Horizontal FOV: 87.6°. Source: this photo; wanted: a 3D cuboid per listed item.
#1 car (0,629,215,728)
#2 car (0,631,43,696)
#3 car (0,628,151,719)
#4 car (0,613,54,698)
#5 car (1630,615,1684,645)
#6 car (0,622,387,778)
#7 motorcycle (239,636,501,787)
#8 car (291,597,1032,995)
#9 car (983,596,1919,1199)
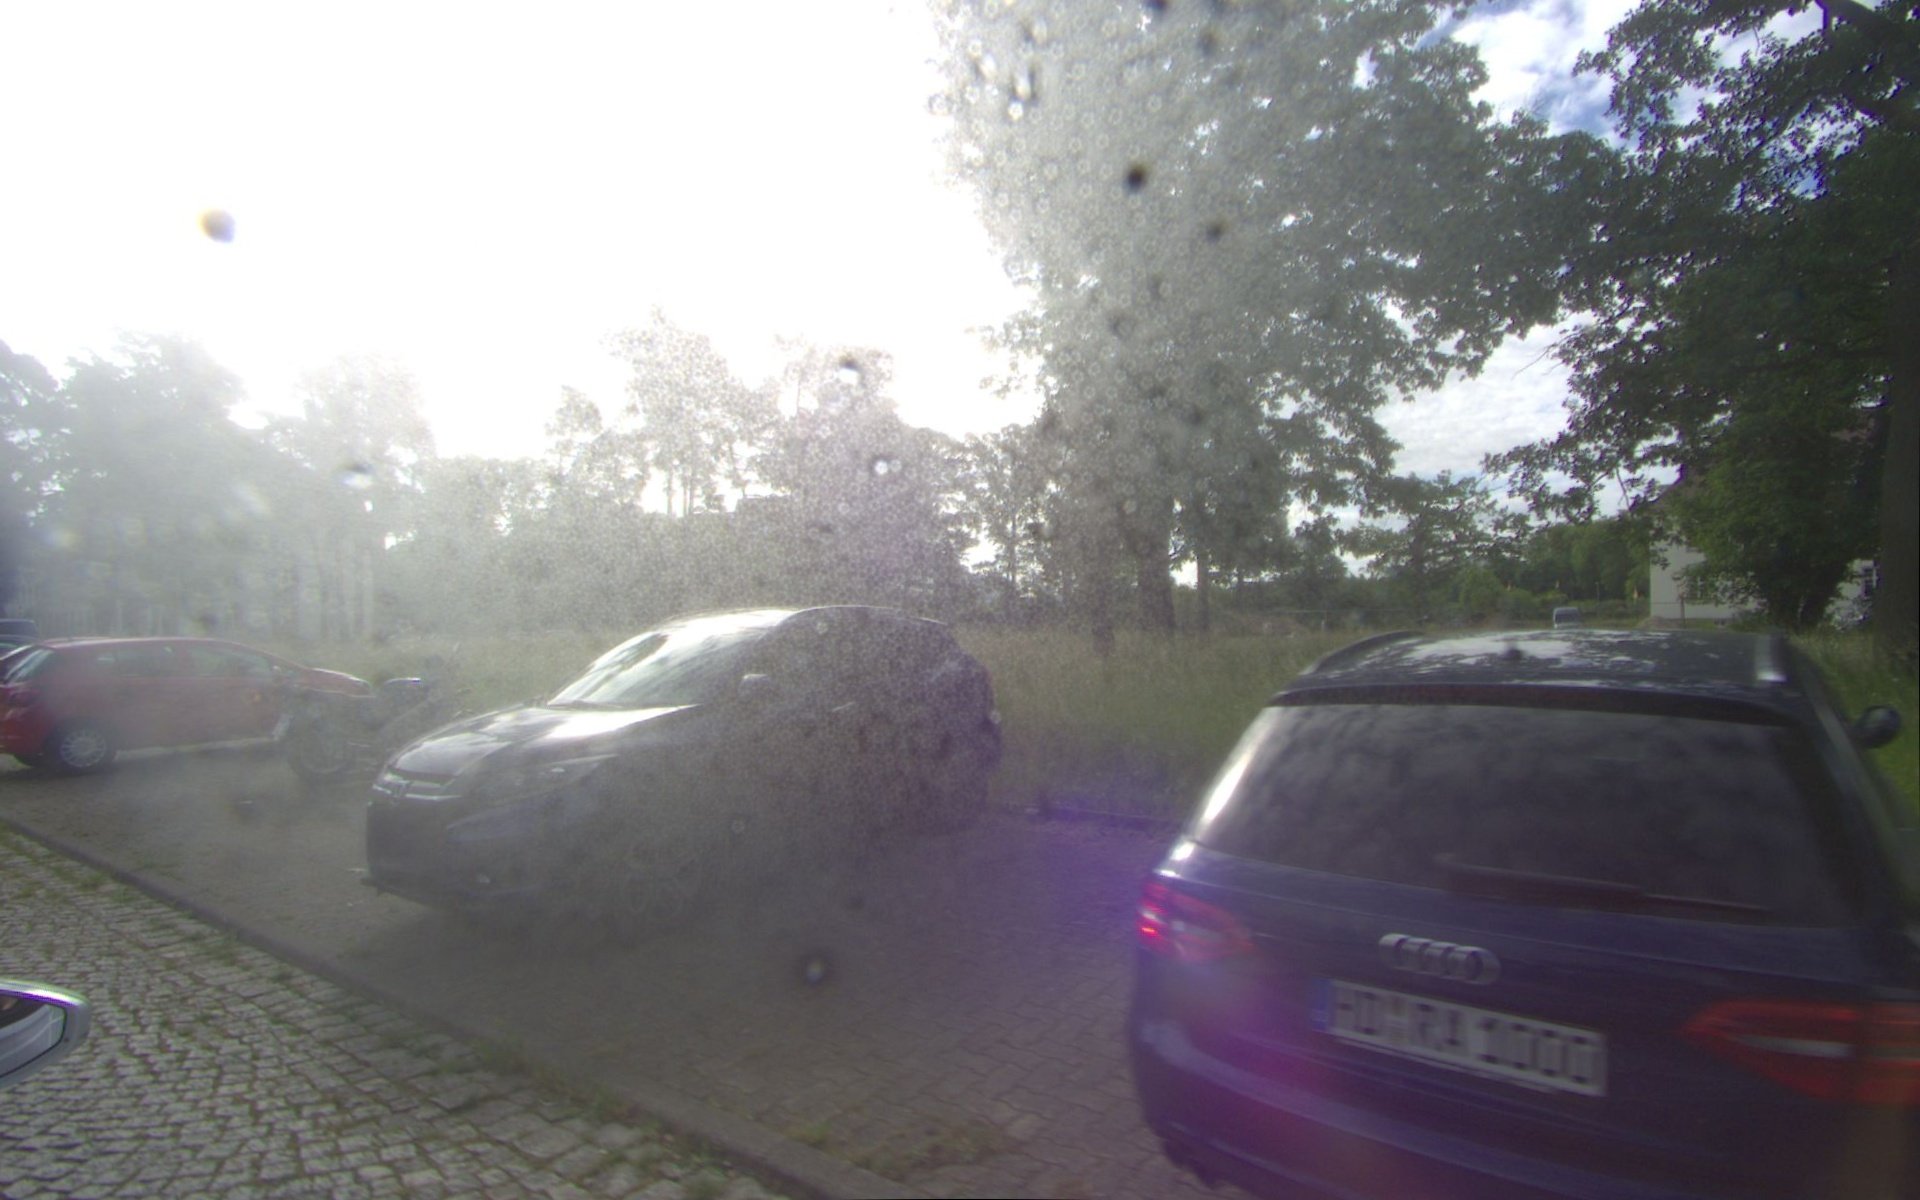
[{"bbox_3d":[-15.433,1.298,17.161,1.715,1.538,3.975,-1,-1,36],"label":"car"},{"bbox_3d":[-22.900,1.470,22.037,1.632,1.443,3.712,-1,0,33],"label":"car"},{"bbox_3d":[-17.665,1.341,18.479,1.738,1.600,3.940,-1,-1,34],"label":"car"},{"bbox_3d":[-24.774,1.339,23.650,1.714,2.066,4.770,-1,-1,34],"label":"car"},{"bbox_3d":[49.569,2.197,71.303,2.449,2.039,5.815,-2,-3,28],"label":"car"},{"bbox_3d":[-9.540,1.090,12.456,1.715,1.525,3.828,-1,0,35],"label":"car"},{"bbox_3d":[-5.833,1.036,10.082,0.597,1.291,2.261,-1,-1,31],"label":"motorcycle"},{"bbox_3d":[-1.454,0.807,6.347,1.870,1.594,4.249,-1,0,36],"label":"car"},{"bbox_3d":[2.199,0.769,3.515,1.873,1.484,4.484,-1,0,39],"label":"car"}]
